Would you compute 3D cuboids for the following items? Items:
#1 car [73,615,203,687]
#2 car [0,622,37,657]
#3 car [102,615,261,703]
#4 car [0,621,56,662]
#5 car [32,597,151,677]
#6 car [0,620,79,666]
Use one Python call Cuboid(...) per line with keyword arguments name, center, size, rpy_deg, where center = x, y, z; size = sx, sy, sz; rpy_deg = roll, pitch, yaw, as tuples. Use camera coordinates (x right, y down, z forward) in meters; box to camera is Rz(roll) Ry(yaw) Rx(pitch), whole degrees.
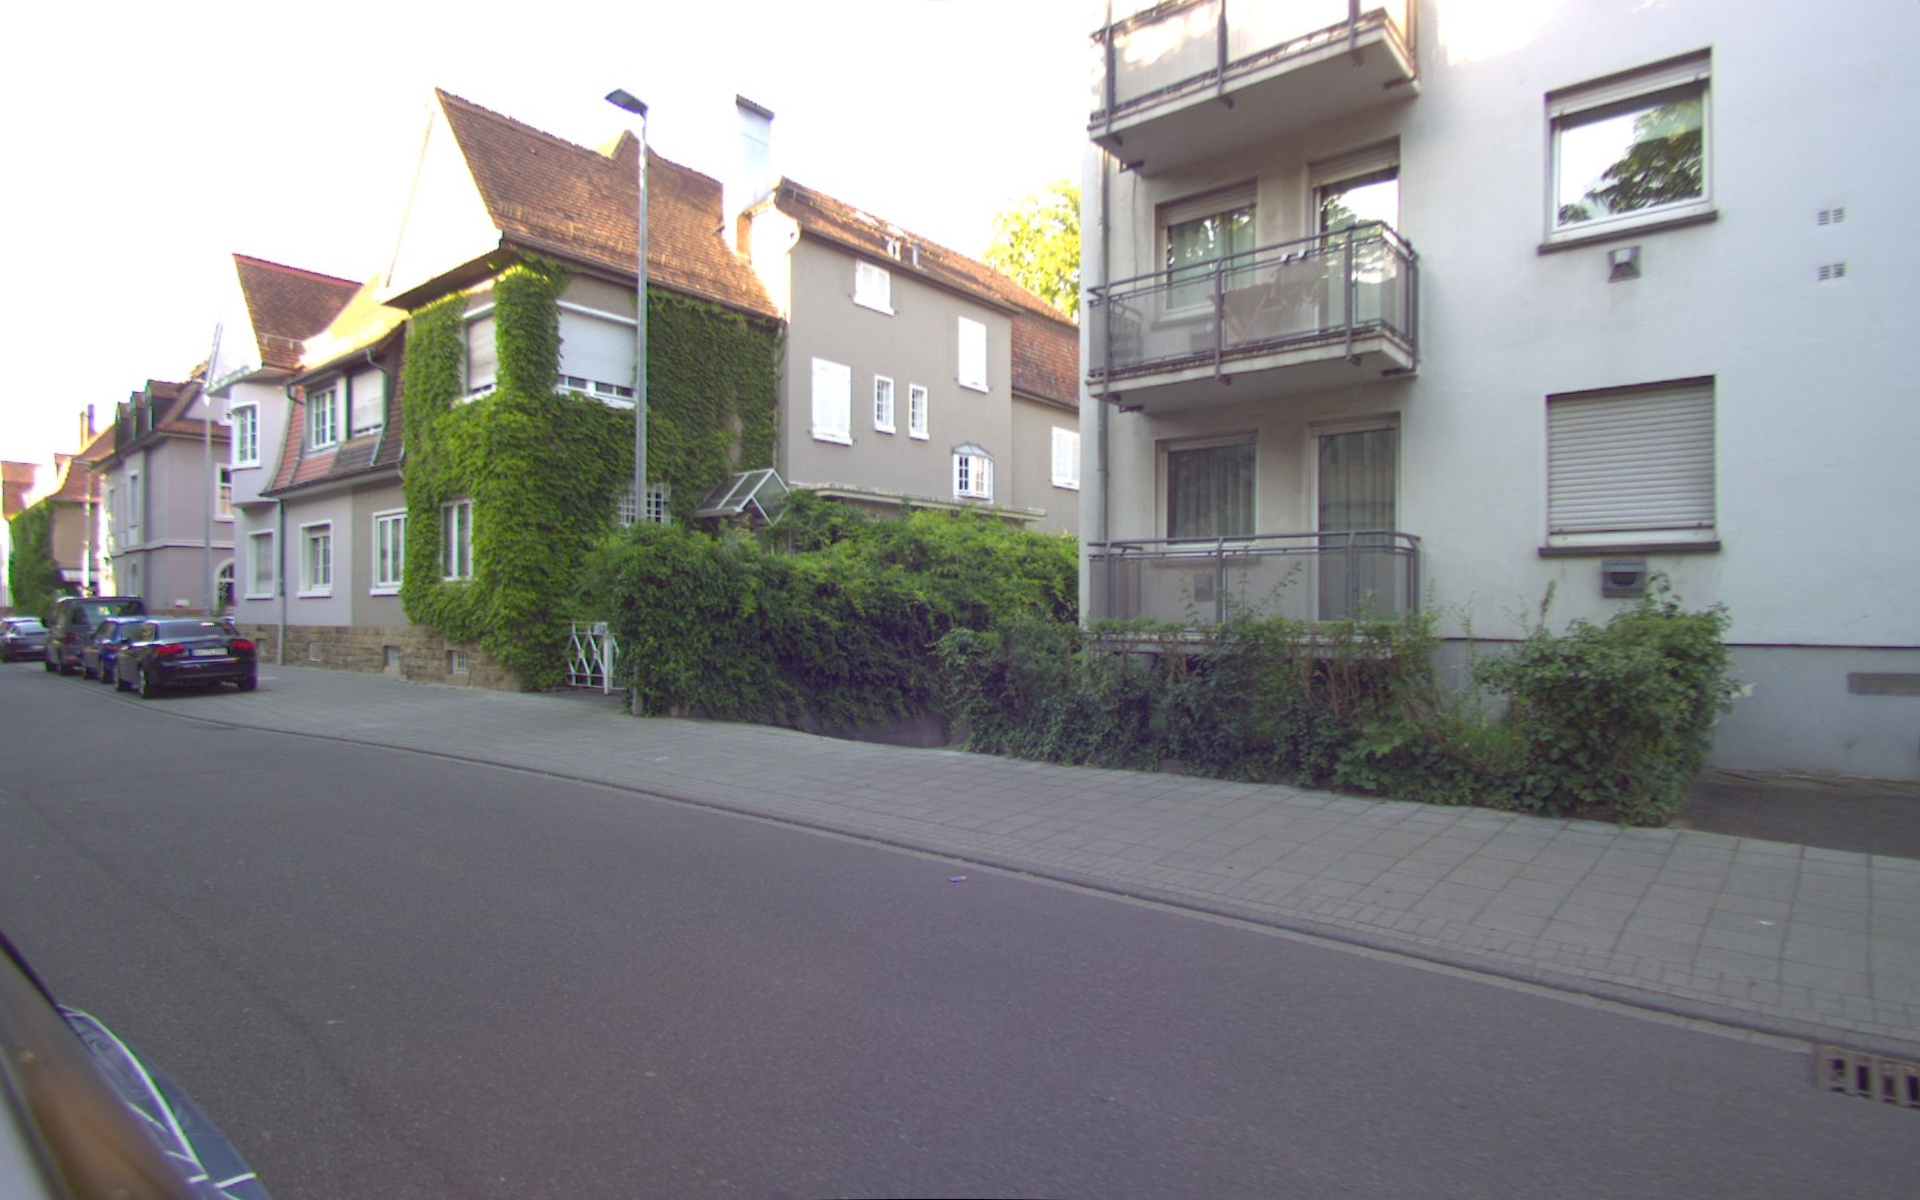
Cuboid(name="car", center=(-19.032, 1.121, 23.368), size=(3.998, 1.465, 1.671), rpy_deg=(-1, 0, 41))
Cuboid(name="car", center=(-41.739, 1.720, 44.079), size=(4.287, 1.438, 1.797), rpy_deg=(-1, 0, 41))
Cuboid(name="car", center=(-15.005, 1.064, 19.431), size=(3.998, 1.465, 1.671), rpy_deg=(-1, 0, 41))
Cuboid(name="car", center=(-35.765, 1.544, 38.320), size=(4.287, 1.438, 1.797), rpy_deg=(-1, 0, 41))
Cuboid(name="car", center=(-22.972, 0.942, 26.717), size=(4.287, 1.920, 1.797), rpy_deg=(-1, 0, 41))
Cuboid(name="car", center=(-31.624, 1.434, 34.520), size=(4.287, 1.438, 1.797), rpy_deg=(-1, 0, 41))
